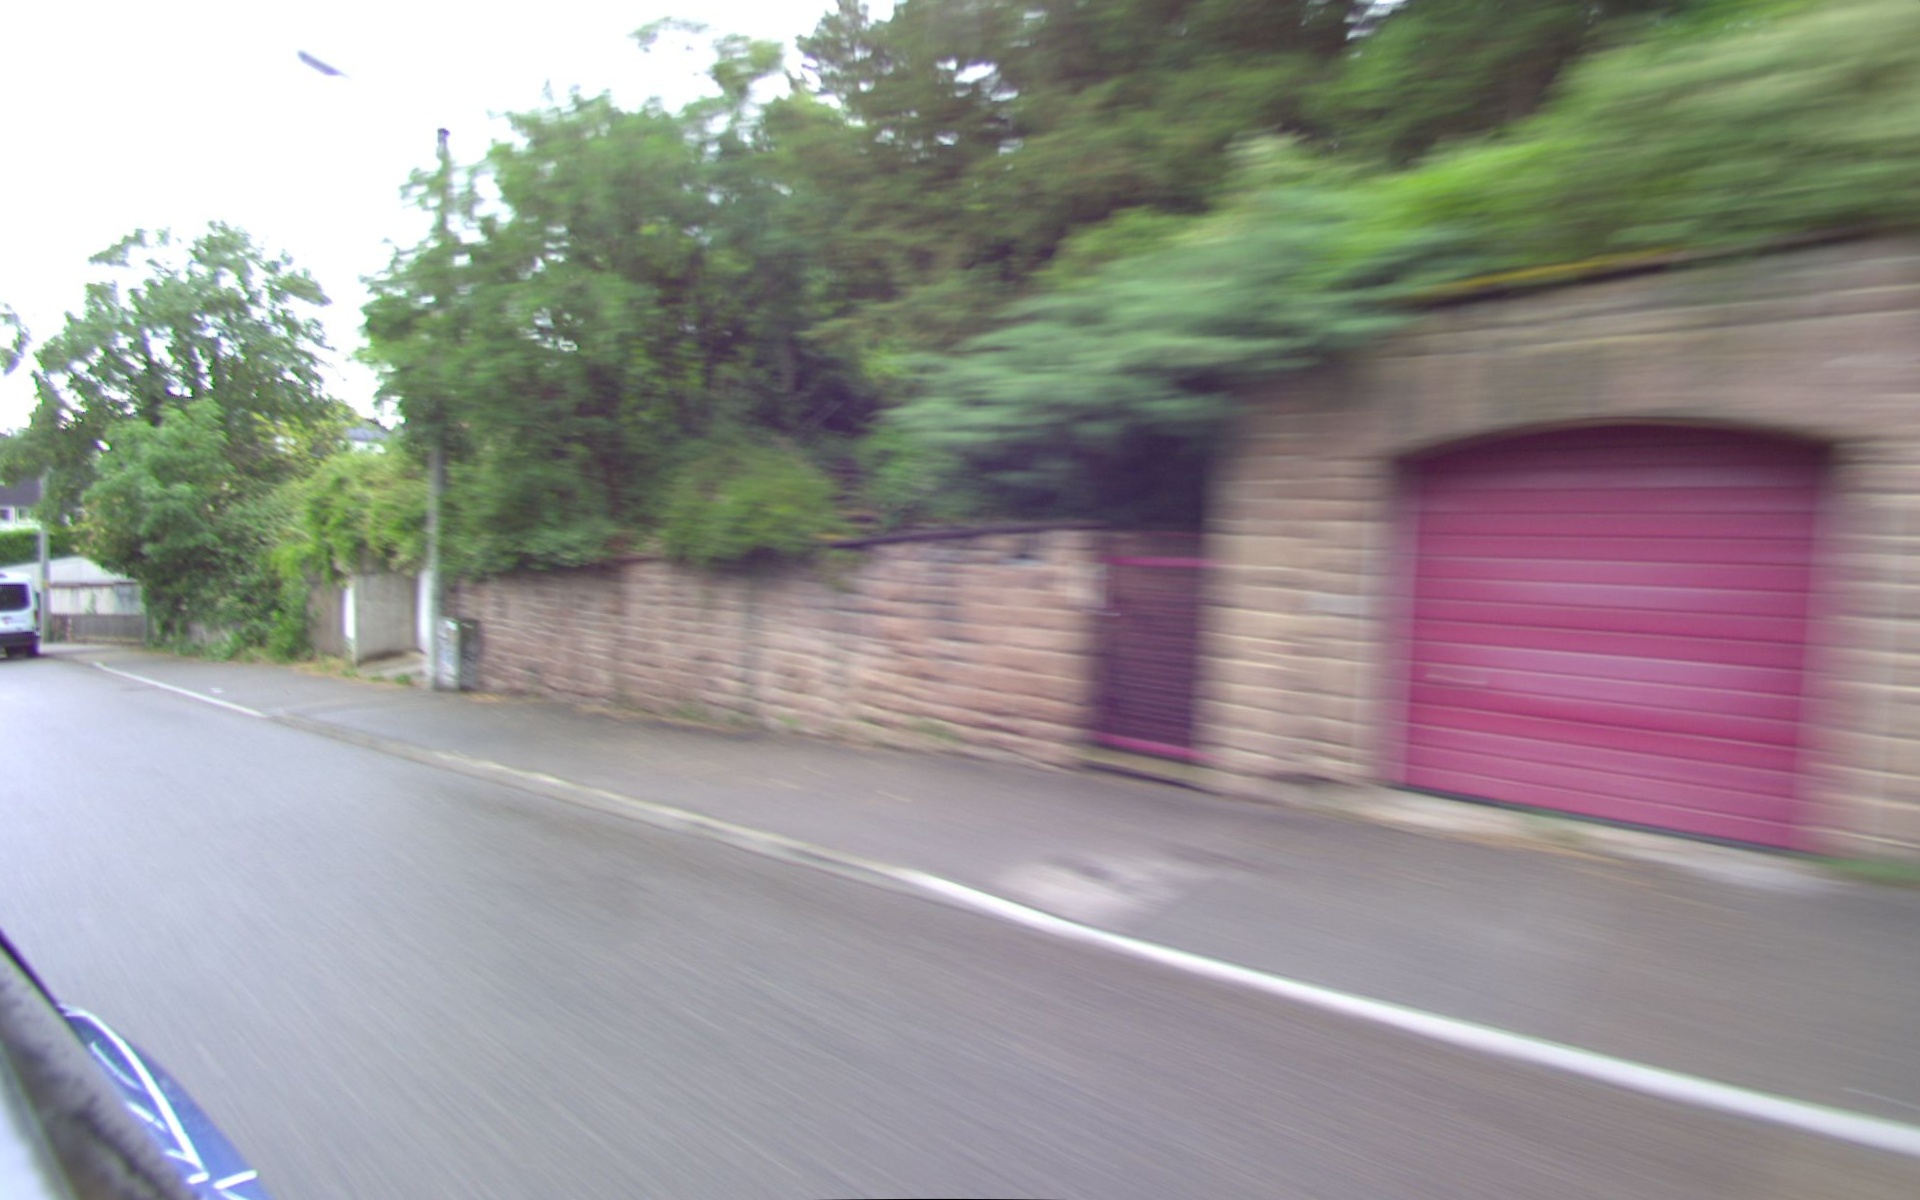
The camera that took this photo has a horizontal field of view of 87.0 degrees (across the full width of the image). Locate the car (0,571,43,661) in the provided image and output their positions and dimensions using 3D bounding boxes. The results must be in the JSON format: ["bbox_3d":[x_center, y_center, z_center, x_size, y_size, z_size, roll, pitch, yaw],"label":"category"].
[{"bbox_3d":[-30.099,0.519,30.988,6.091,2.569,2.074,-1,2,40],"label":"car"}]
